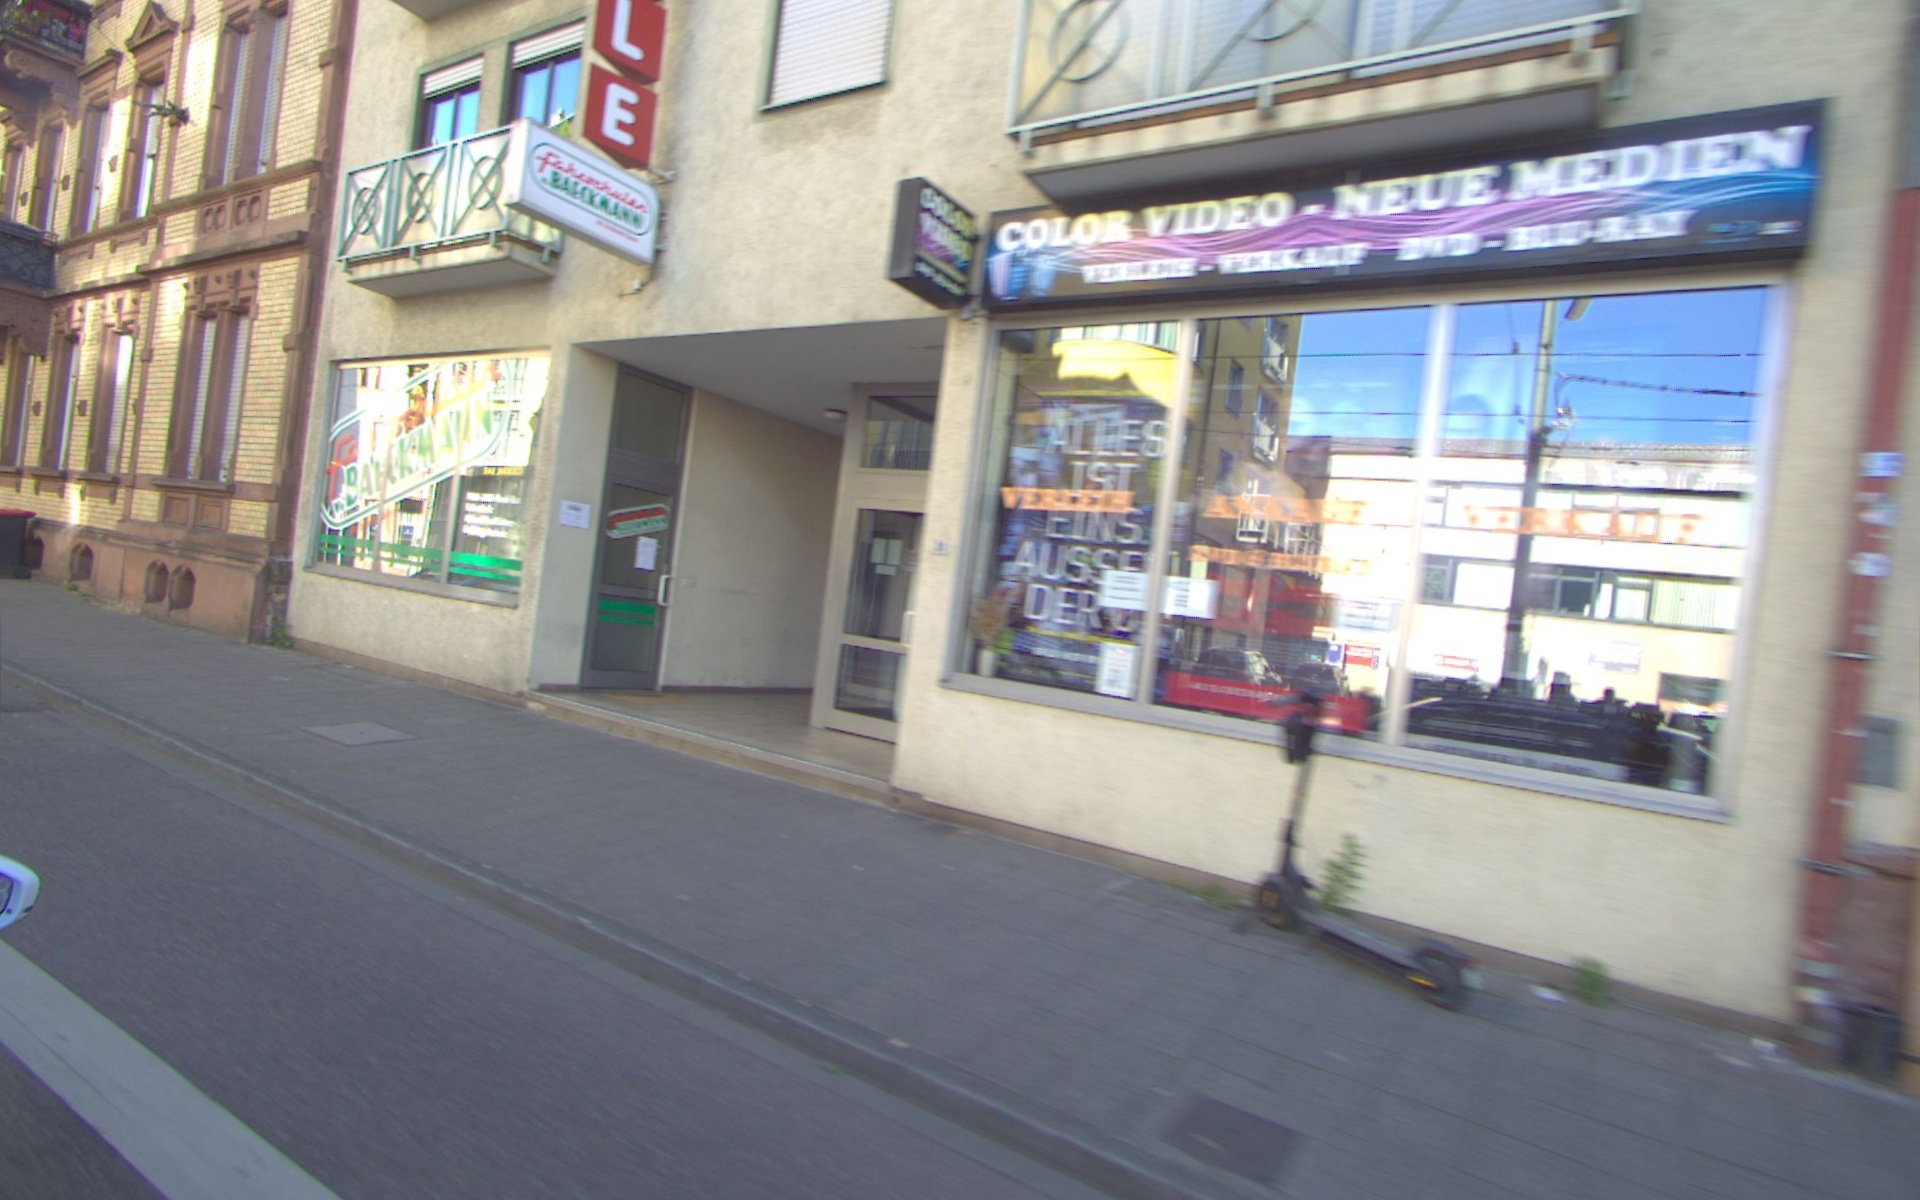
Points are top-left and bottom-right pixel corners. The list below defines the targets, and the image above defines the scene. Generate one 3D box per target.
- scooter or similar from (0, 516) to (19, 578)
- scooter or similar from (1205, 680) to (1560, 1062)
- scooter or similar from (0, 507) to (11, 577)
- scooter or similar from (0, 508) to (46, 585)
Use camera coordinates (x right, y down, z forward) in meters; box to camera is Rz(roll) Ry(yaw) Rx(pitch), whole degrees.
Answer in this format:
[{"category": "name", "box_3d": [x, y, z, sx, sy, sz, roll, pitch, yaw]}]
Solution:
[{"category": "scooter or similar", "box_3d": [-15.995, -0.890, 16.405, 0.669, 0.970, 0.790, 7, 4, 31]}, {"category": "scooter or similar", "box_3d": [1.794, 1.085, 4.421, 0.408, 1.297, 1.269, 6, 0, -40]}, {"category": "scooter or similar", "box_3d": [-16.574, -1.005, 16.787, 0.639, 1.164, 0.933, 7, 4, 31]}, {"category": "scooter or similar", "box_3d": [-15.166, -0.859, 15.953, 0.777, 1.164, 0.790, 7, 4, 31]}]
